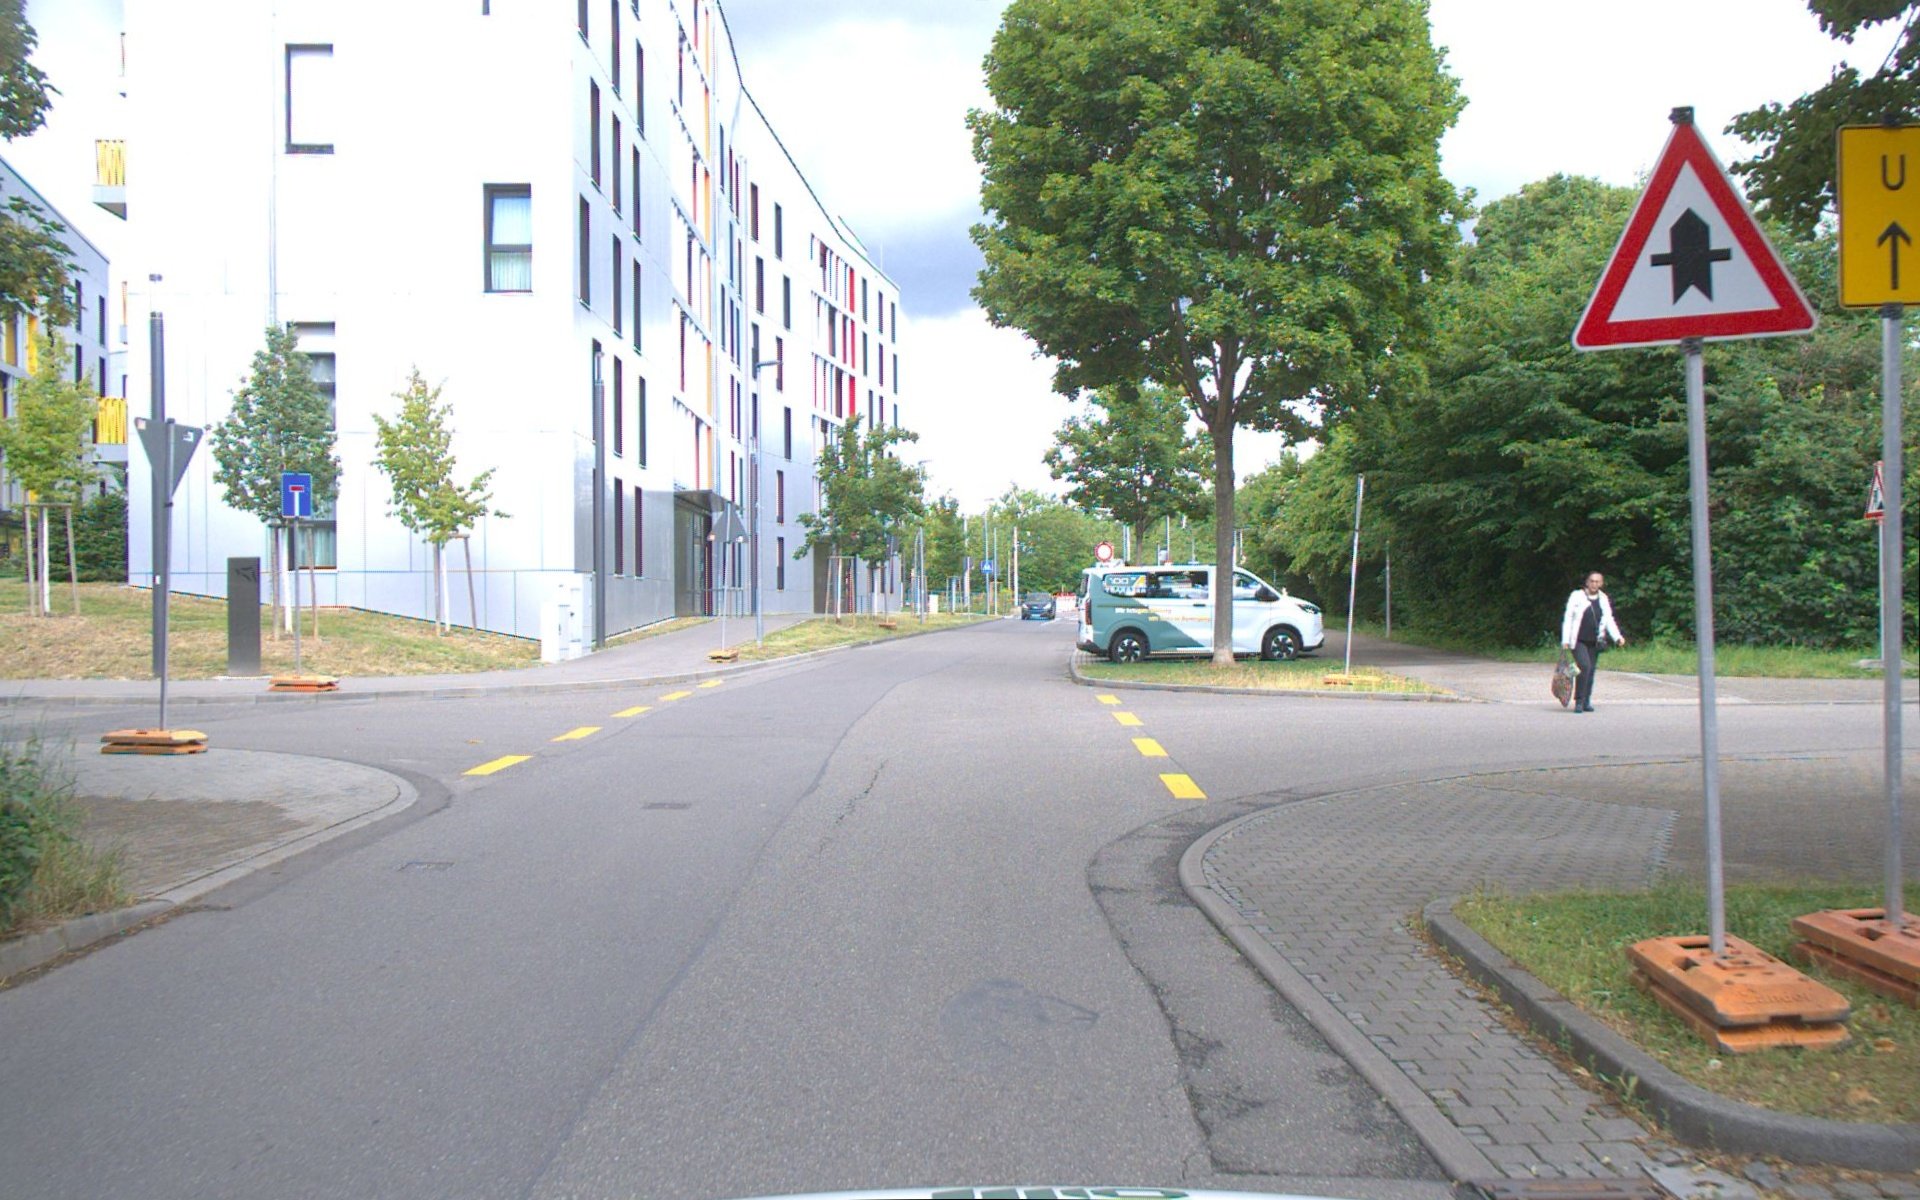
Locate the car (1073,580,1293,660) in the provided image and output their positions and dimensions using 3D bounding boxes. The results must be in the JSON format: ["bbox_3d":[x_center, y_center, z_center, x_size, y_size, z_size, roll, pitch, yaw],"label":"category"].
[{"bbox_3d":[4.810,0.418,36.153,4.604,1.543,1.848,-2,0,4],"label":"car"}]

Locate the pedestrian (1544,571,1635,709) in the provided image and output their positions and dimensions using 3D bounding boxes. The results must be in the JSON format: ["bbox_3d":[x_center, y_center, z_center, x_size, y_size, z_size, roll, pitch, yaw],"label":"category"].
[{"bbox_3d":[7.464,0.464,19.653,0.817,1.604,0.810,0,0,5],"label":"pedestrian"}]

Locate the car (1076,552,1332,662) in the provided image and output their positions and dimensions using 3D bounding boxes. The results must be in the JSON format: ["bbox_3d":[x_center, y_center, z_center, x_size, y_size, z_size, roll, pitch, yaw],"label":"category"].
[{"bbox_3d":[4.879,0.137,33.528,4.870,2.006,1.847,-2,0,0],"label":"car"}]

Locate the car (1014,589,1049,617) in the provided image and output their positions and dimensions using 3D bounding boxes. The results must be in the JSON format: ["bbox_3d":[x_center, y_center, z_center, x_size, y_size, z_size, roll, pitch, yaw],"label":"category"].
[{"bbox_3d":[3.884,0.148,89.267,1.575,1.412,4.003,1,0,7],"label":"car"}]
